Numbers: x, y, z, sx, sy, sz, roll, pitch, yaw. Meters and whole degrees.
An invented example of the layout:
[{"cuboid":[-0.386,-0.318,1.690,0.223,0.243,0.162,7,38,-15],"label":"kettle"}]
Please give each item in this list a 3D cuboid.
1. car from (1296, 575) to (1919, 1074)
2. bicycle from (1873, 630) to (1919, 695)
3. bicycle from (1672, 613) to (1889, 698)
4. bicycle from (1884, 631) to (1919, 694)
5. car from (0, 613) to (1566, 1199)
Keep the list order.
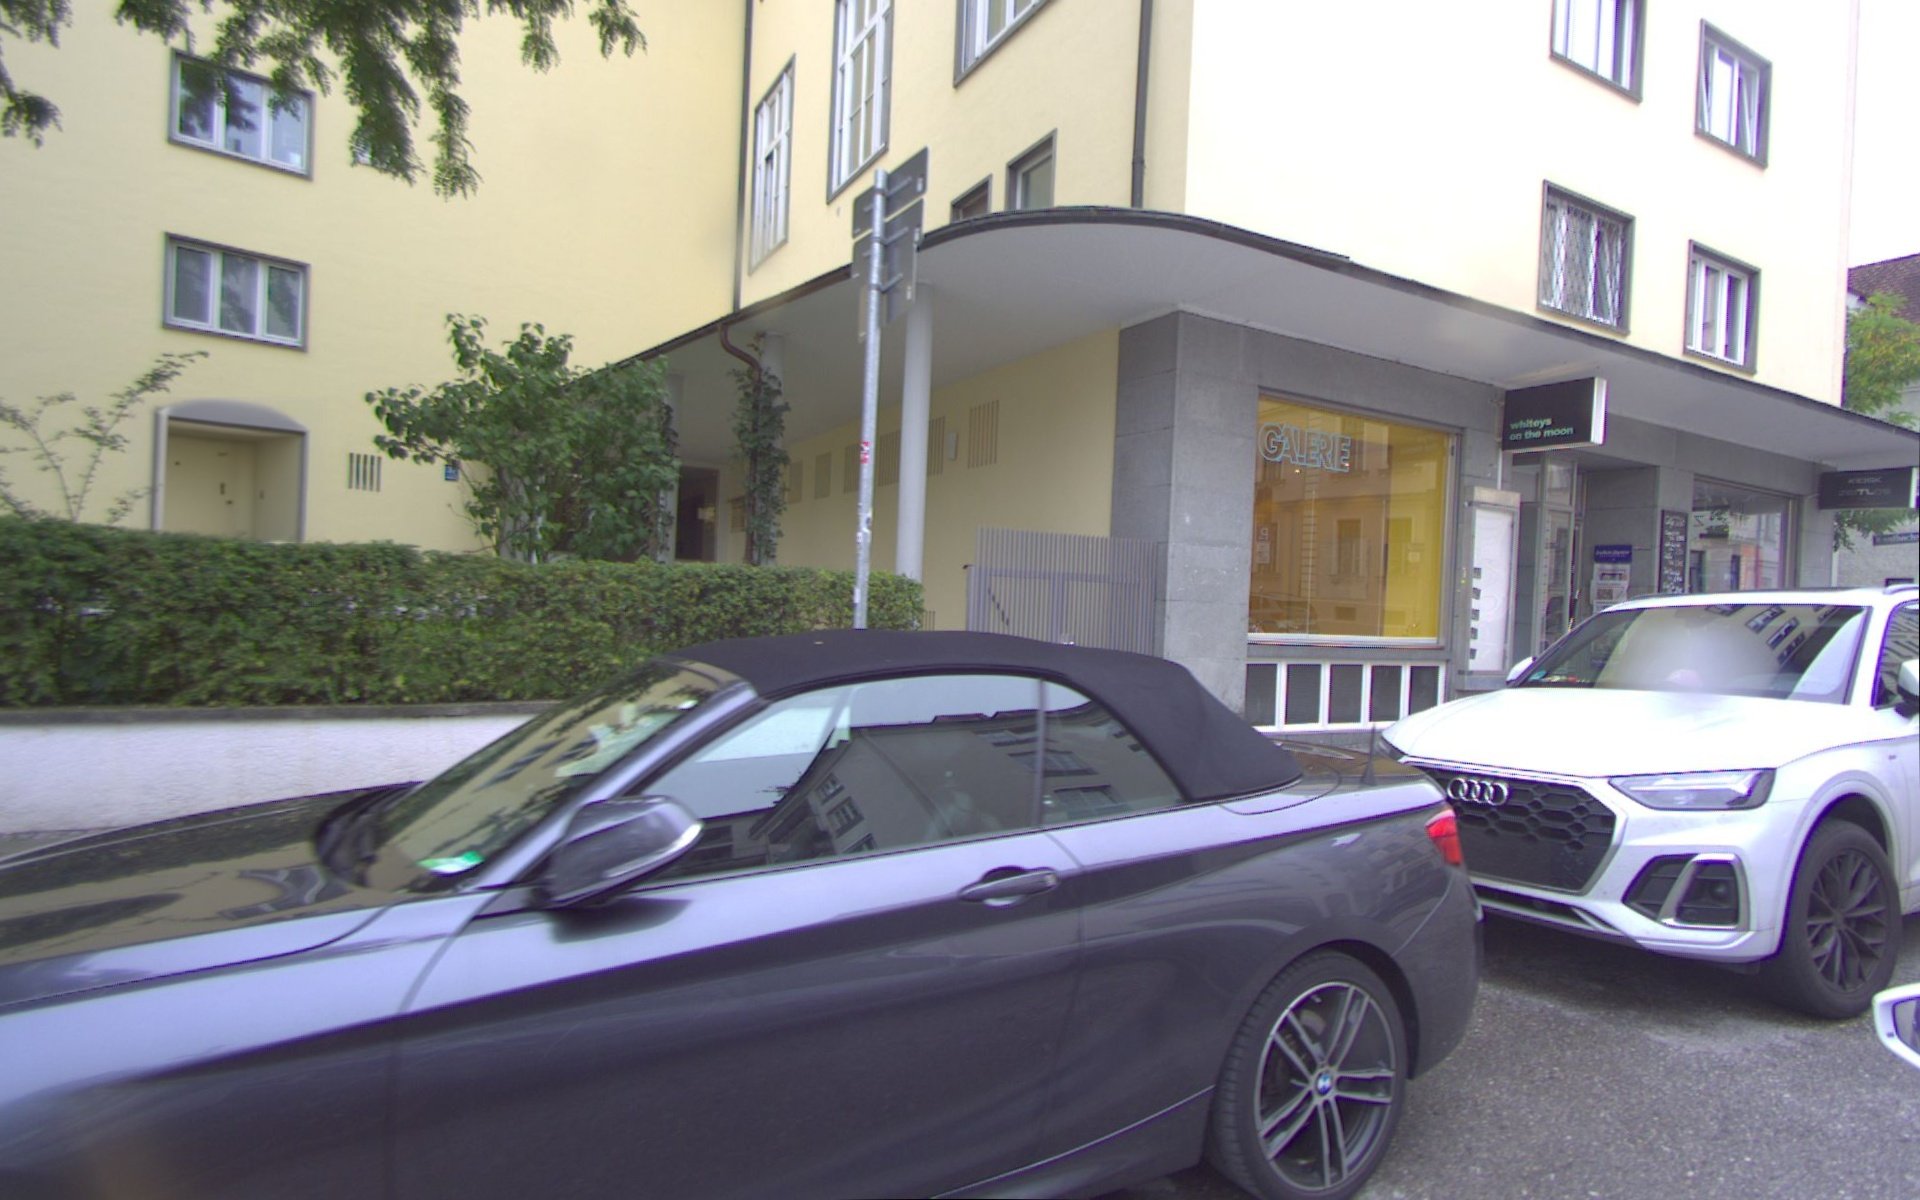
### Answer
[{"cuboid":[3.906,0.738,5.059,4.284,1.605,1.795,0,0,-29],"label":"car"},{"cuboid":[16.571,1.103,16.843,0.386,1.049,1.812,1,3,-25],"label":"bicycle"},{"cuboid":[14.281,0.926,17.626,0.807,1.228,2.833,3,1,-25],"label":"bicycle"},{"cuboid":[16.928,1.124,17.020,0.386,1.049,1.812,1,3,-25],"label":"bicycle"},{"cuboid":[-0.423,0.778,2.705,4.047,1.429,1.738,1,-1,-29],"label":"car"}]
